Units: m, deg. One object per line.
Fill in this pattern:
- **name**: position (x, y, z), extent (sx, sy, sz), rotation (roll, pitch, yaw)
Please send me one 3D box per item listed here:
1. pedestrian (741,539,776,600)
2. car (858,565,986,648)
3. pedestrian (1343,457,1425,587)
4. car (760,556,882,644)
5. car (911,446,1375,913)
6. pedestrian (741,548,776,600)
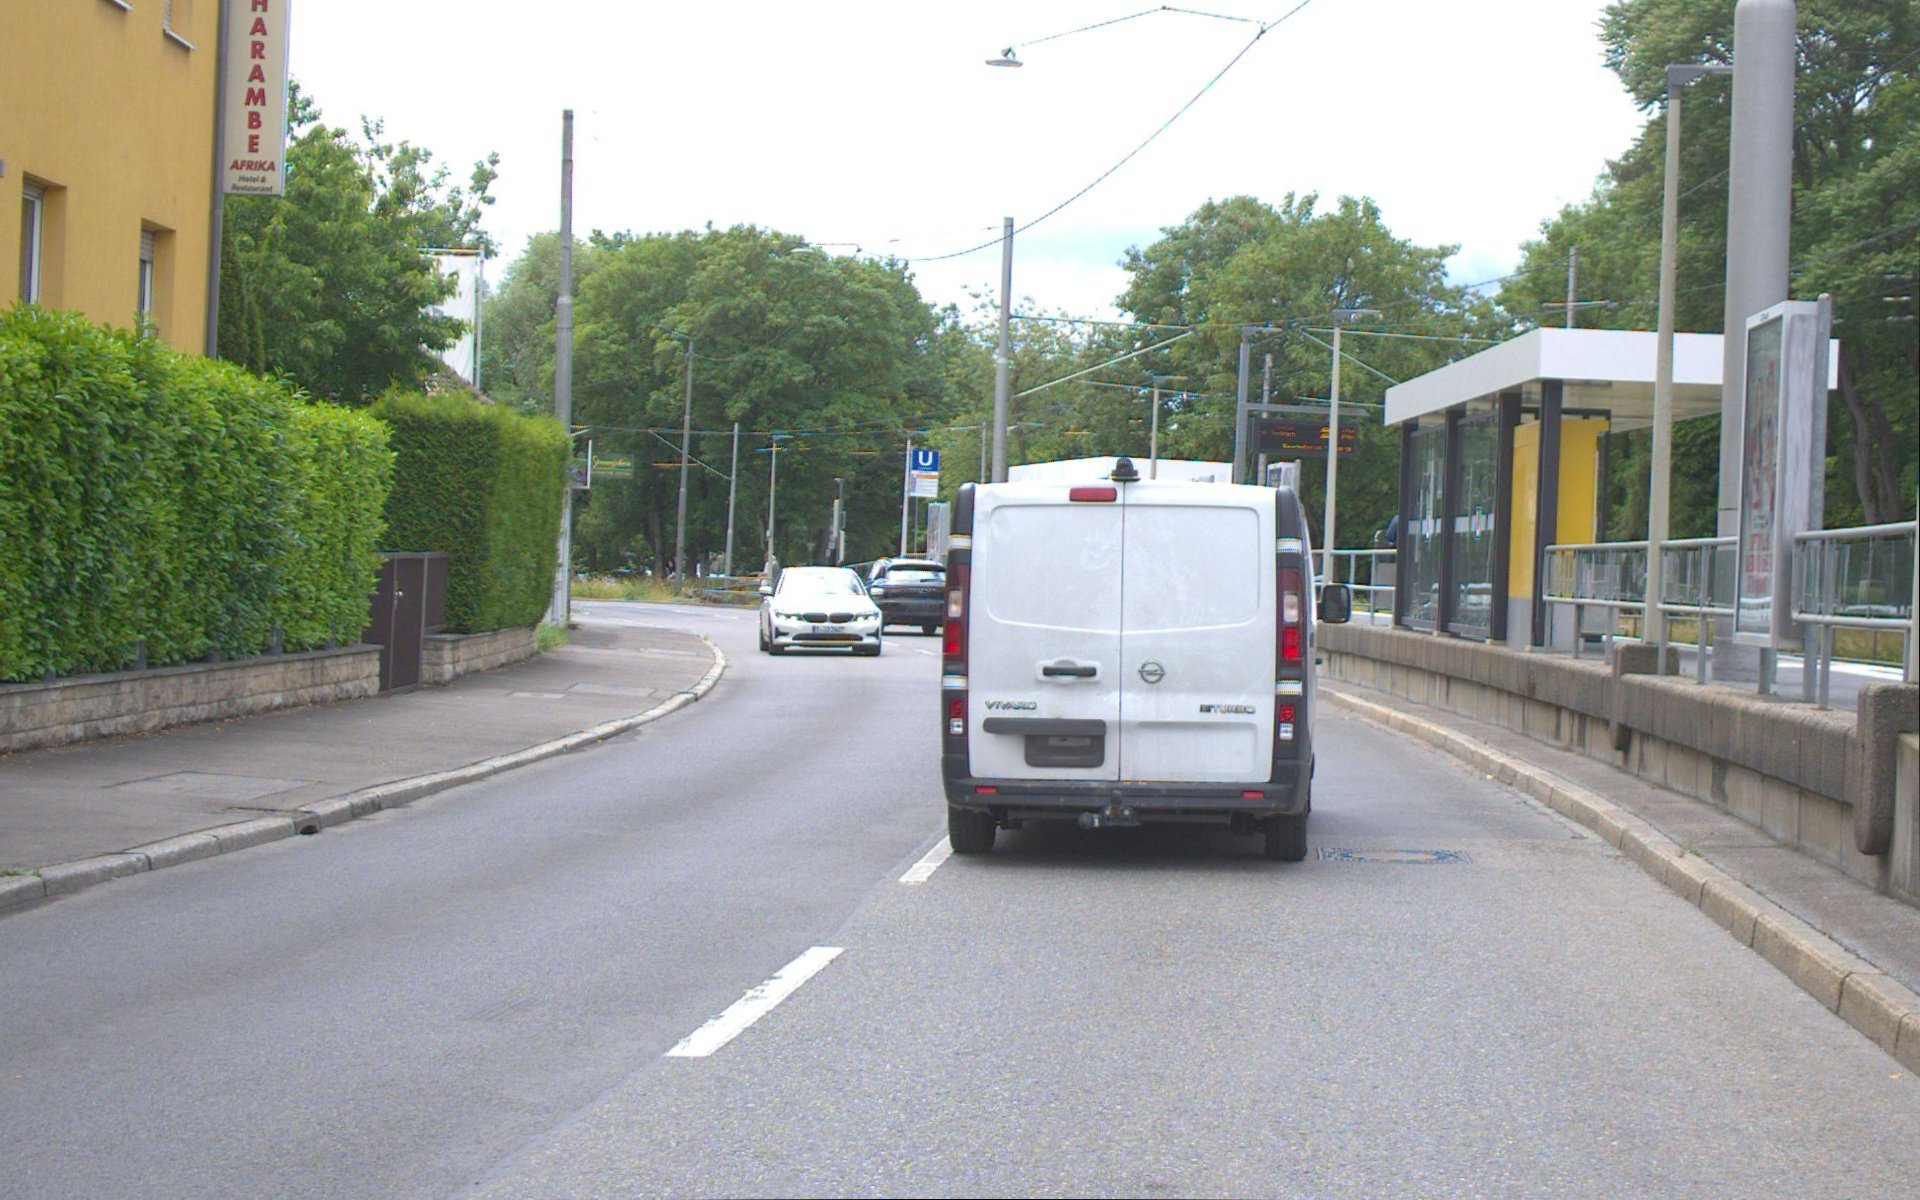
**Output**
- **pedestrian**: position (-6.083, -0.926, 103.786), extent (0.758, 1.789, 0.631), rotation (2, 0, -35)
- **car**: position (-0.855, 0.120, 73.297), extent (2.355, 1.559, 4.373), rotation (4, 0, -4)
- **pedestrian**: position (5.588, -1.021, 45.347), extent (0.886, 1.665, 0.910), rotation (3, 0, -1)
- **car**: position (-2.358, -0.025, 57.318), extent (1.818, 1.414, 4.464), rotation (0, 1, -5)
- **car**: position (1.104, 0.367, 19.329), extent (2.117, 2.127, 5.440), rotation (4, 1, 5)
- **pedestrian**: position (-5.983, -0.771, 102.068), extent (0.758, 1.487, 0.631), rotation (2, 0, -35)
